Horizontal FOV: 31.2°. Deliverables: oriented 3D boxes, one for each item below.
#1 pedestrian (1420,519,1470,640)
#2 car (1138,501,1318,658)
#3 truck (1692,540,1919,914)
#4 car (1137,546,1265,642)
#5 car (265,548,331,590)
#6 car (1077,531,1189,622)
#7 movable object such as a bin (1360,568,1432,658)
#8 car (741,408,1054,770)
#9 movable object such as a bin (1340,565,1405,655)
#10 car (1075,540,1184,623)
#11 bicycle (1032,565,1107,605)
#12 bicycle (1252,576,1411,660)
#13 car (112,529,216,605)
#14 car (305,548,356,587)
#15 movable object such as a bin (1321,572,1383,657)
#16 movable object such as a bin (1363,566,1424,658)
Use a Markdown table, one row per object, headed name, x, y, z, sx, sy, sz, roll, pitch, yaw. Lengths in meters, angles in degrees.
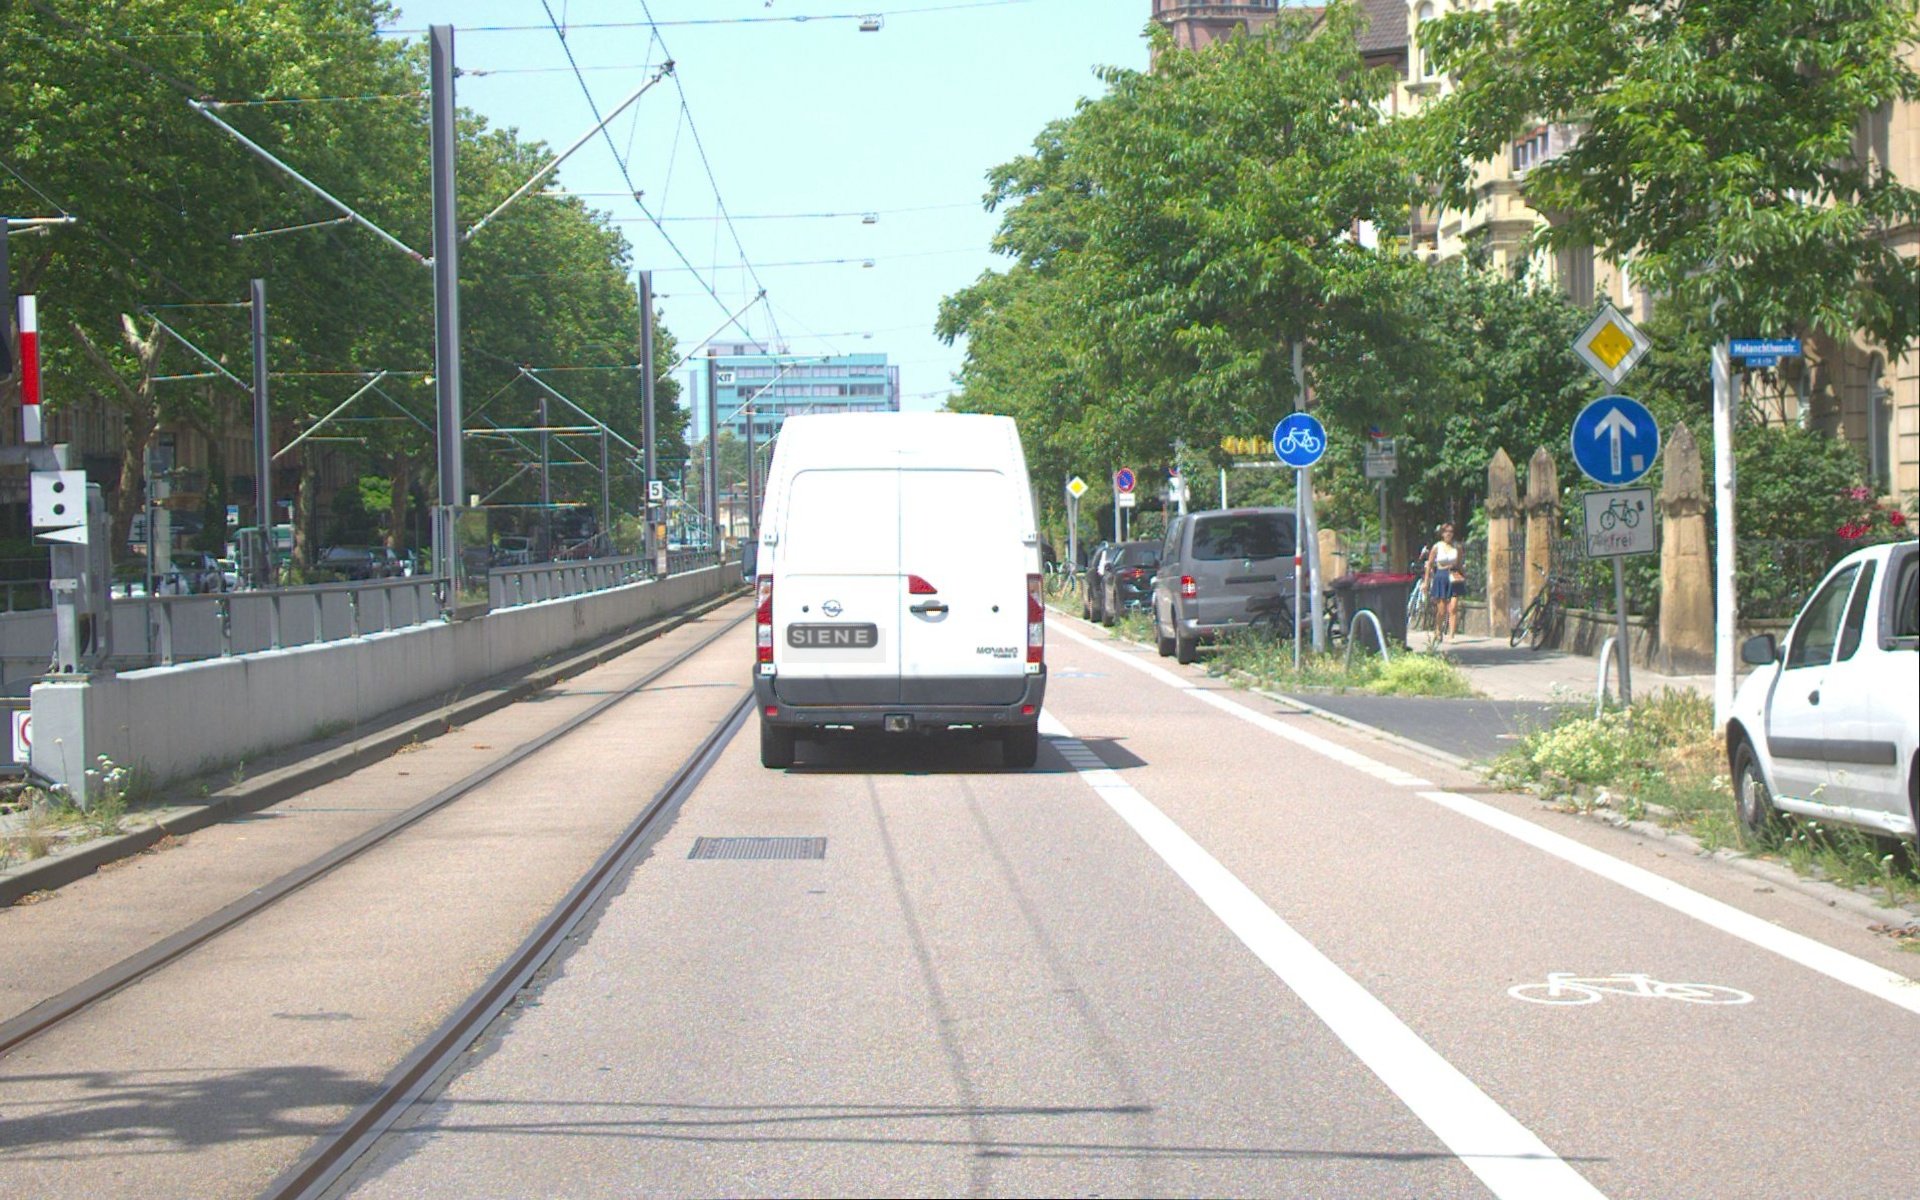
| name | x | y | z | sx | sy | sz | roll | pitch | yaw |
| --- | --- | --- | --- | --- | --- | --- | --- | --- | --- |
| pedestrian | 6.424 | -0.278 | 45.557 | 0.552 | 1.592 | 0.728 | 0 | 1 | 1 |
| car | 3.550 | -0.313 | 46.337 | 1.879 | 1.941 | 4.837 | -2 | 1 | -1 |
| truck | 4.770 | 0.491 | 15.594 | 1.789 | 1.521 | 4.466 | 0 | 1 | -2 |
| car | 3.728 | -0.120 | 53.673 | 1.611 | 1.401 | 4.000 | -1 | 1 | -1 |
| car | -23.239 | -1.101 | 120.759 | 1.592 | 1.443 | 4.000 | 0 | 1 | -1 |
| car | 3.028 | -0.446 | 60.875 | 1.667 | 1.525 | 4.013 | -1 | 1 | -1 |
| movable object such as a bin | 5.018 | 0.151 | 39.599 | 0.787 | 1.010 | 0.650 | -1 | 1 | 5 |
| car | -0.537 | -0.122 | 25.938 | 2.117 | 2.450 | 5.055 | 0 | 1 | -3 |
| movable object such as a bin | 4.911 | 0.120 | 40.911 | 0.746 | 1.058 | 0.496 | 0 | 1 | 5 |
| car | 3.236 | -0.377 | 66.470 | 1.729 | 1.530 | 4.405 | 0 | 1 | -2 |
| bicycle | 2.730 | -0.374 | 85.889 | 1.842 | 0.950 | 0.503 | -1 | 1 | 0 |
| bicycle | 4.589 | 0.216 | 42.463 | 1.880 | 0.988 | 0.470 | -1 | 1 | -11 |
| car | -18.202 | -0.779 | 78.759 | 1.653 | 1.678 | 3.708 | 0 | 1 | -2 |
| car | -23.583 | -1.210 | 128.855 | 1.373 | 1.419 | 3.088 | -1 | 1 | -1 |
| movable object such as a bin | 4.742 | 0.172 | 41.629 | 0.595 | 1.007 | 0.566 | -1 | 1 | -11 |
| movable object such as a bin | 5.057 | 0.137 | 40.149 | 0.669 | 1.058 | 0.496 | -1 | 1 | 5 |
